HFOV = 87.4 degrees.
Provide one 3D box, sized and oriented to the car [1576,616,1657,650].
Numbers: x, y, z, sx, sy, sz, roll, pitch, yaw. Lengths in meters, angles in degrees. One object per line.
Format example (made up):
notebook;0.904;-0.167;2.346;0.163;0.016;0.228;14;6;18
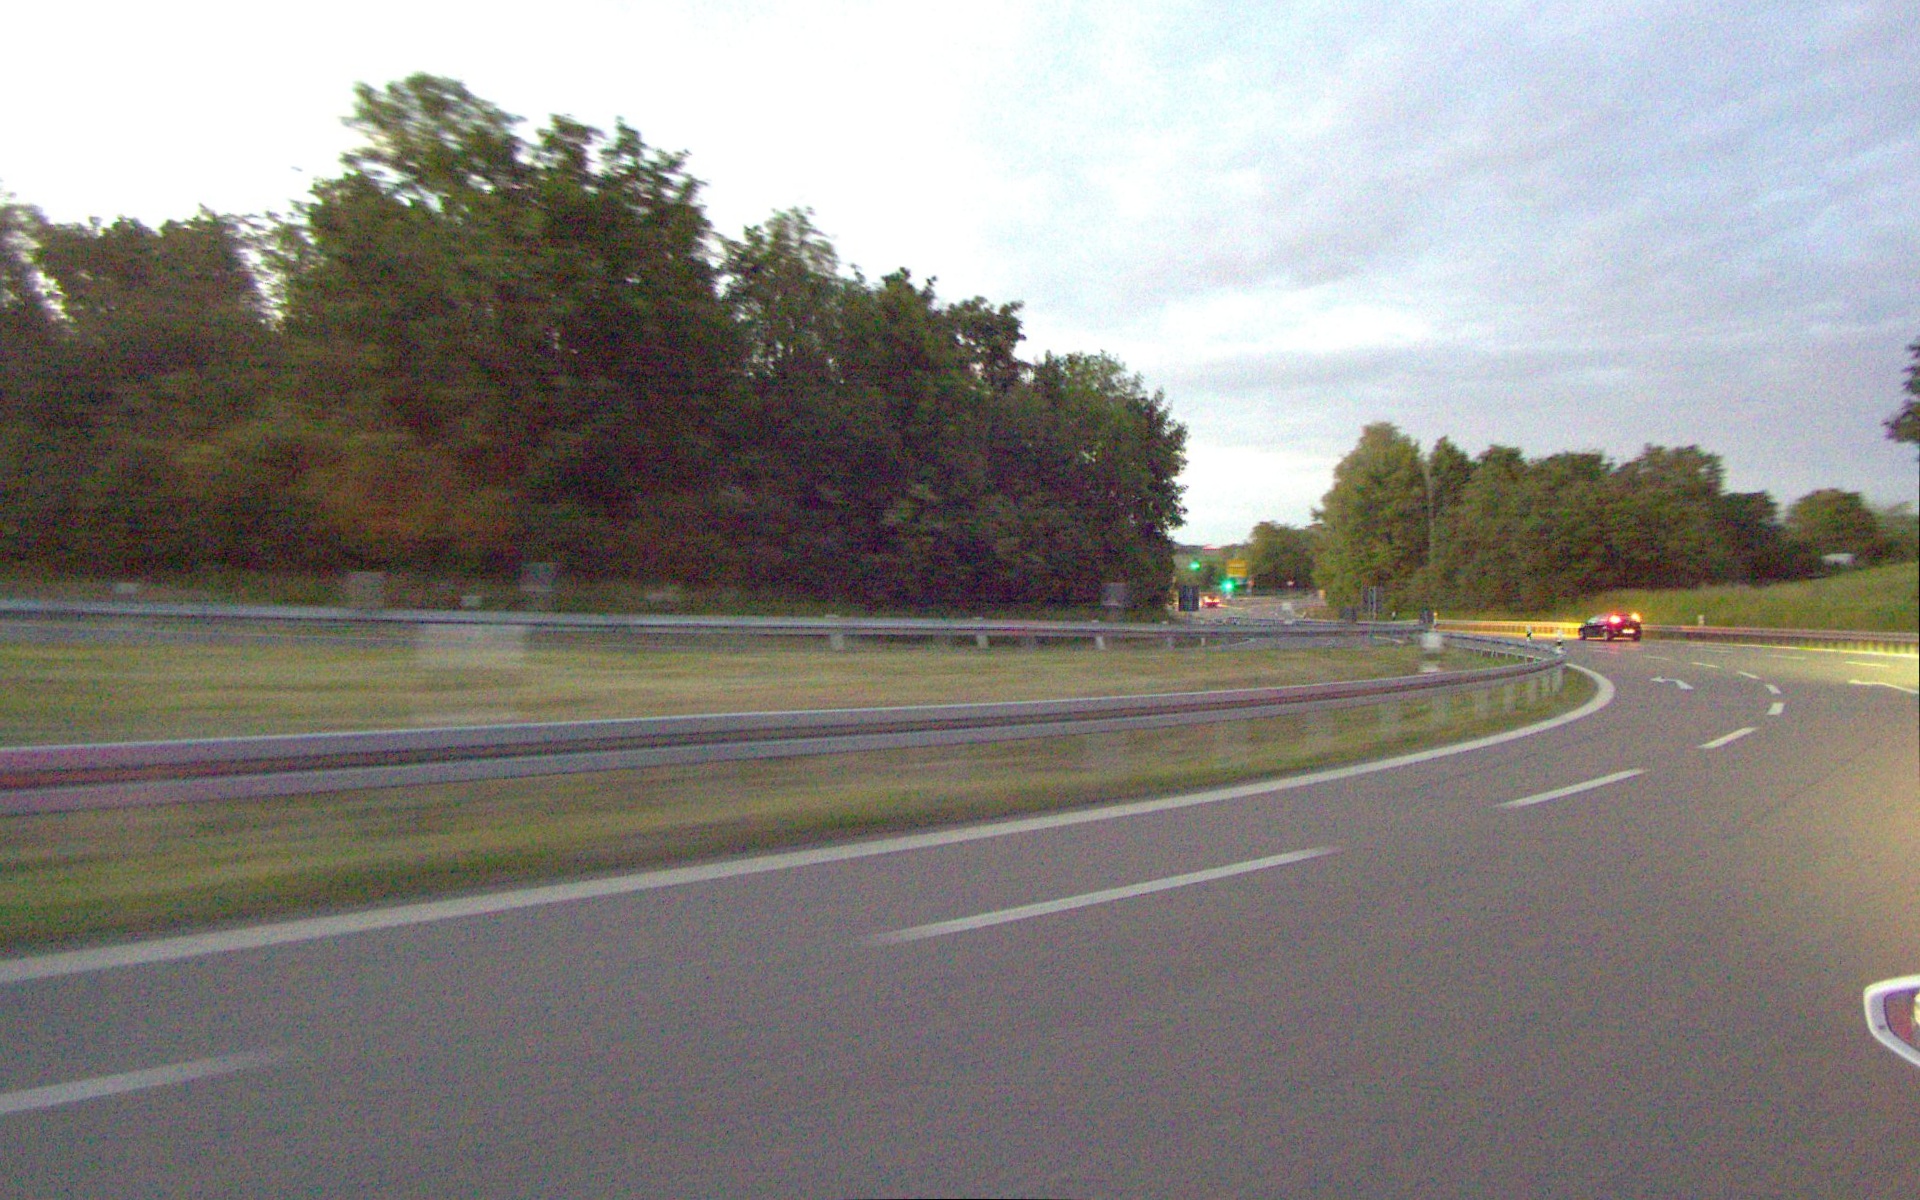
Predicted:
car;35.327;1.765;54.189;1.960;1.620;4.002;2;1;5
